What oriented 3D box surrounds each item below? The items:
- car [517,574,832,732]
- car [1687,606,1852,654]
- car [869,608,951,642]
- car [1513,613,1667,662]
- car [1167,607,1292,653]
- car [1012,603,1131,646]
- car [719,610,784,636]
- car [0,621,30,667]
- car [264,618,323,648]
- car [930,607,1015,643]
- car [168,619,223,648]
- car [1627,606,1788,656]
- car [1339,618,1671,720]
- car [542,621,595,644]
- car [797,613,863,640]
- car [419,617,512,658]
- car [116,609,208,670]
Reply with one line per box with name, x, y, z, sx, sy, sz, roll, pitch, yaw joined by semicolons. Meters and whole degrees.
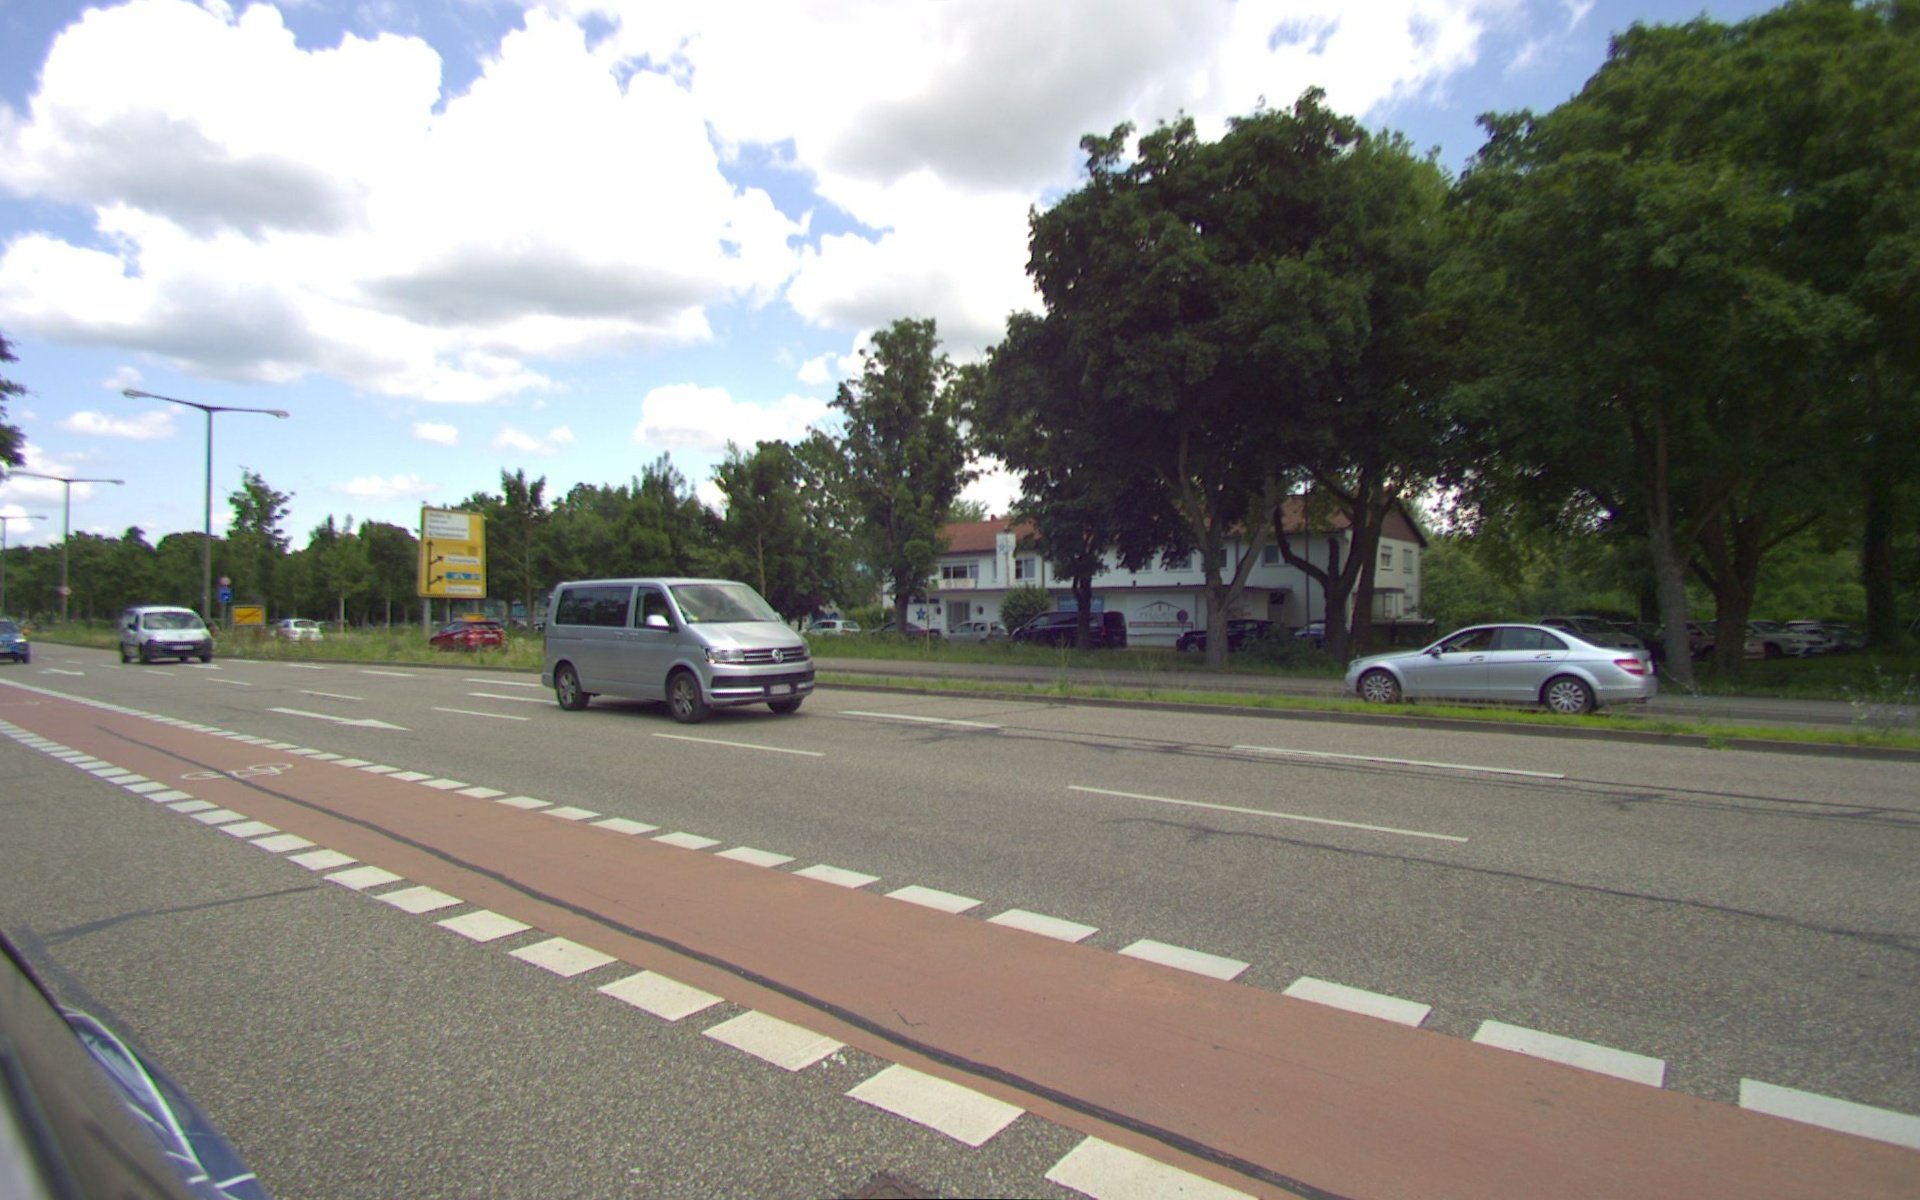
car;-4.309;0.702;14.757;5.228;1.933;1.795;-1;-2;40
car;27.712;1.022;34.825;1.967;1.557;4.033;0;-2;-12
car;-2.477;1.252;49.865;4.022;1.600;1.739;-1;-2;42
car;20.475;1.201;33.105;1.967;1.495;4.033;0;-2;-12
car;10.385;1.138;39.106;4.349;1.670;1.793;-1;0;31
car;4.706;1.052;43.209;4.929;1.724;1.862;-1;-2;43
car;-11.918;1.323;57.859;3.865;1.422;1.706;-1;-2;42
car;-31.898;1.421;33.295;3.702;1.475;1.583;-1;-3;42
car;-34.777;1.703;52.801;3.590;1.456;1.595;-1;0;39
car;0.576;1.181;47.222;3.665;1.600;1.896;-1;-2;42
car;-44.661;1.947;59.115;4.001;1.630;1.971;-1;-2;44
car;25.278;1.094;34.429;1.967;1.600;4.032;0;-3;-12
car;8.752;1.029;16.500;4.493;1.443;1.781;-1;-2;41
car;-28.579;2.351;73.832;4.022;1.600;1.972;-1;-2;42
car;-6.870;1.398;53.451;3.476;1.342;1.604;-1;-2;42
car;-19.852;1.456;40.553;3.996;1.523;1.868;-1;0;39
car;-25.260;1.205;31.979;4.157;1.799;1.723;-1;-1;44
